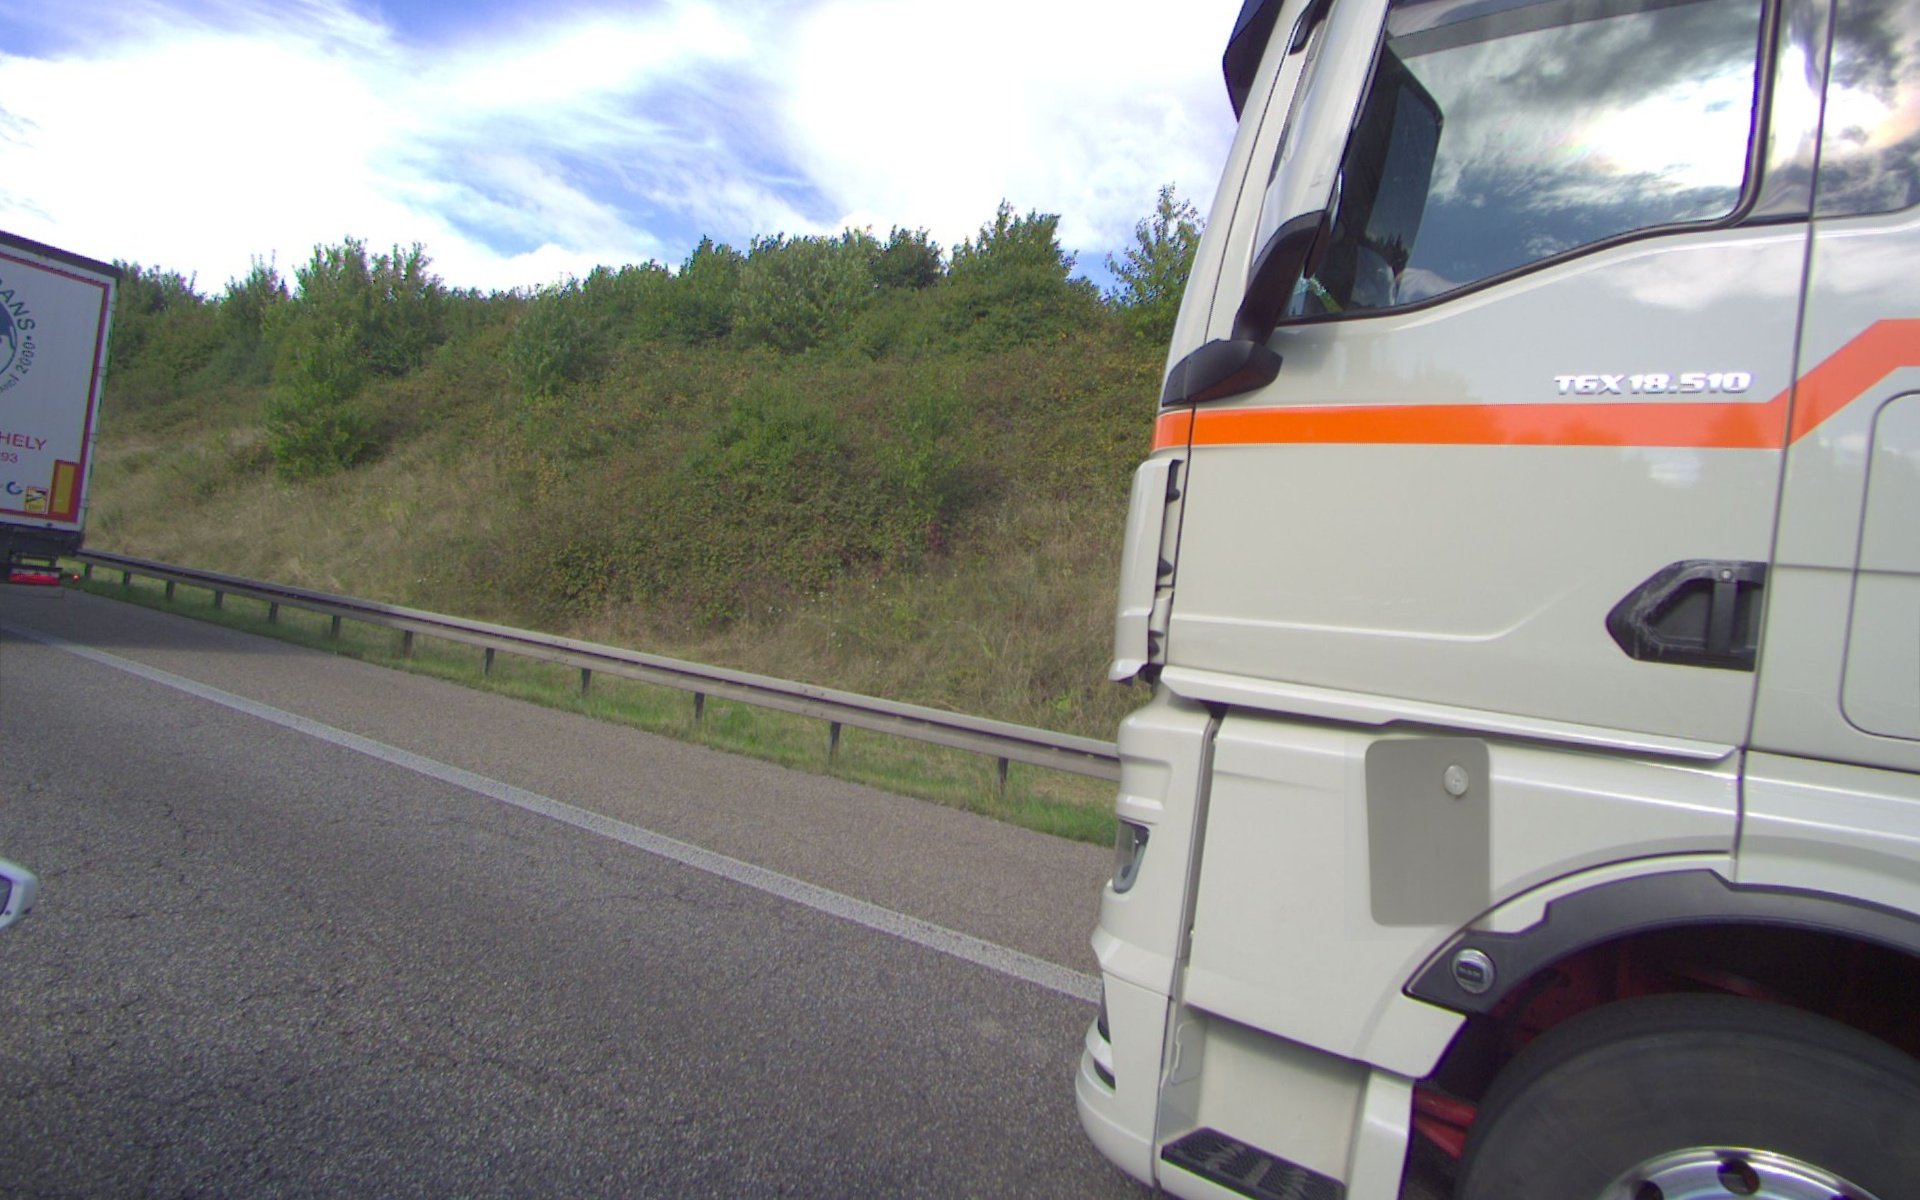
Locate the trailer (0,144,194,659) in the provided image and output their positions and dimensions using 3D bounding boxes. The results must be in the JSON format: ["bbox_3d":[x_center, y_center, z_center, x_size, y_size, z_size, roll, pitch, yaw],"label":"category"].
[{"bbox_3d":[-14.679,-2.523,12.719,13.068,4.716,3.008,7,-1,31],"label":"trailer"}]

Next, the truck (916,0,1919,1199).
[{"bbox_3d":[3.295,-0.142,1.932,5.807,4.091,2.807,7,-1,33],"label":"truck"}]
